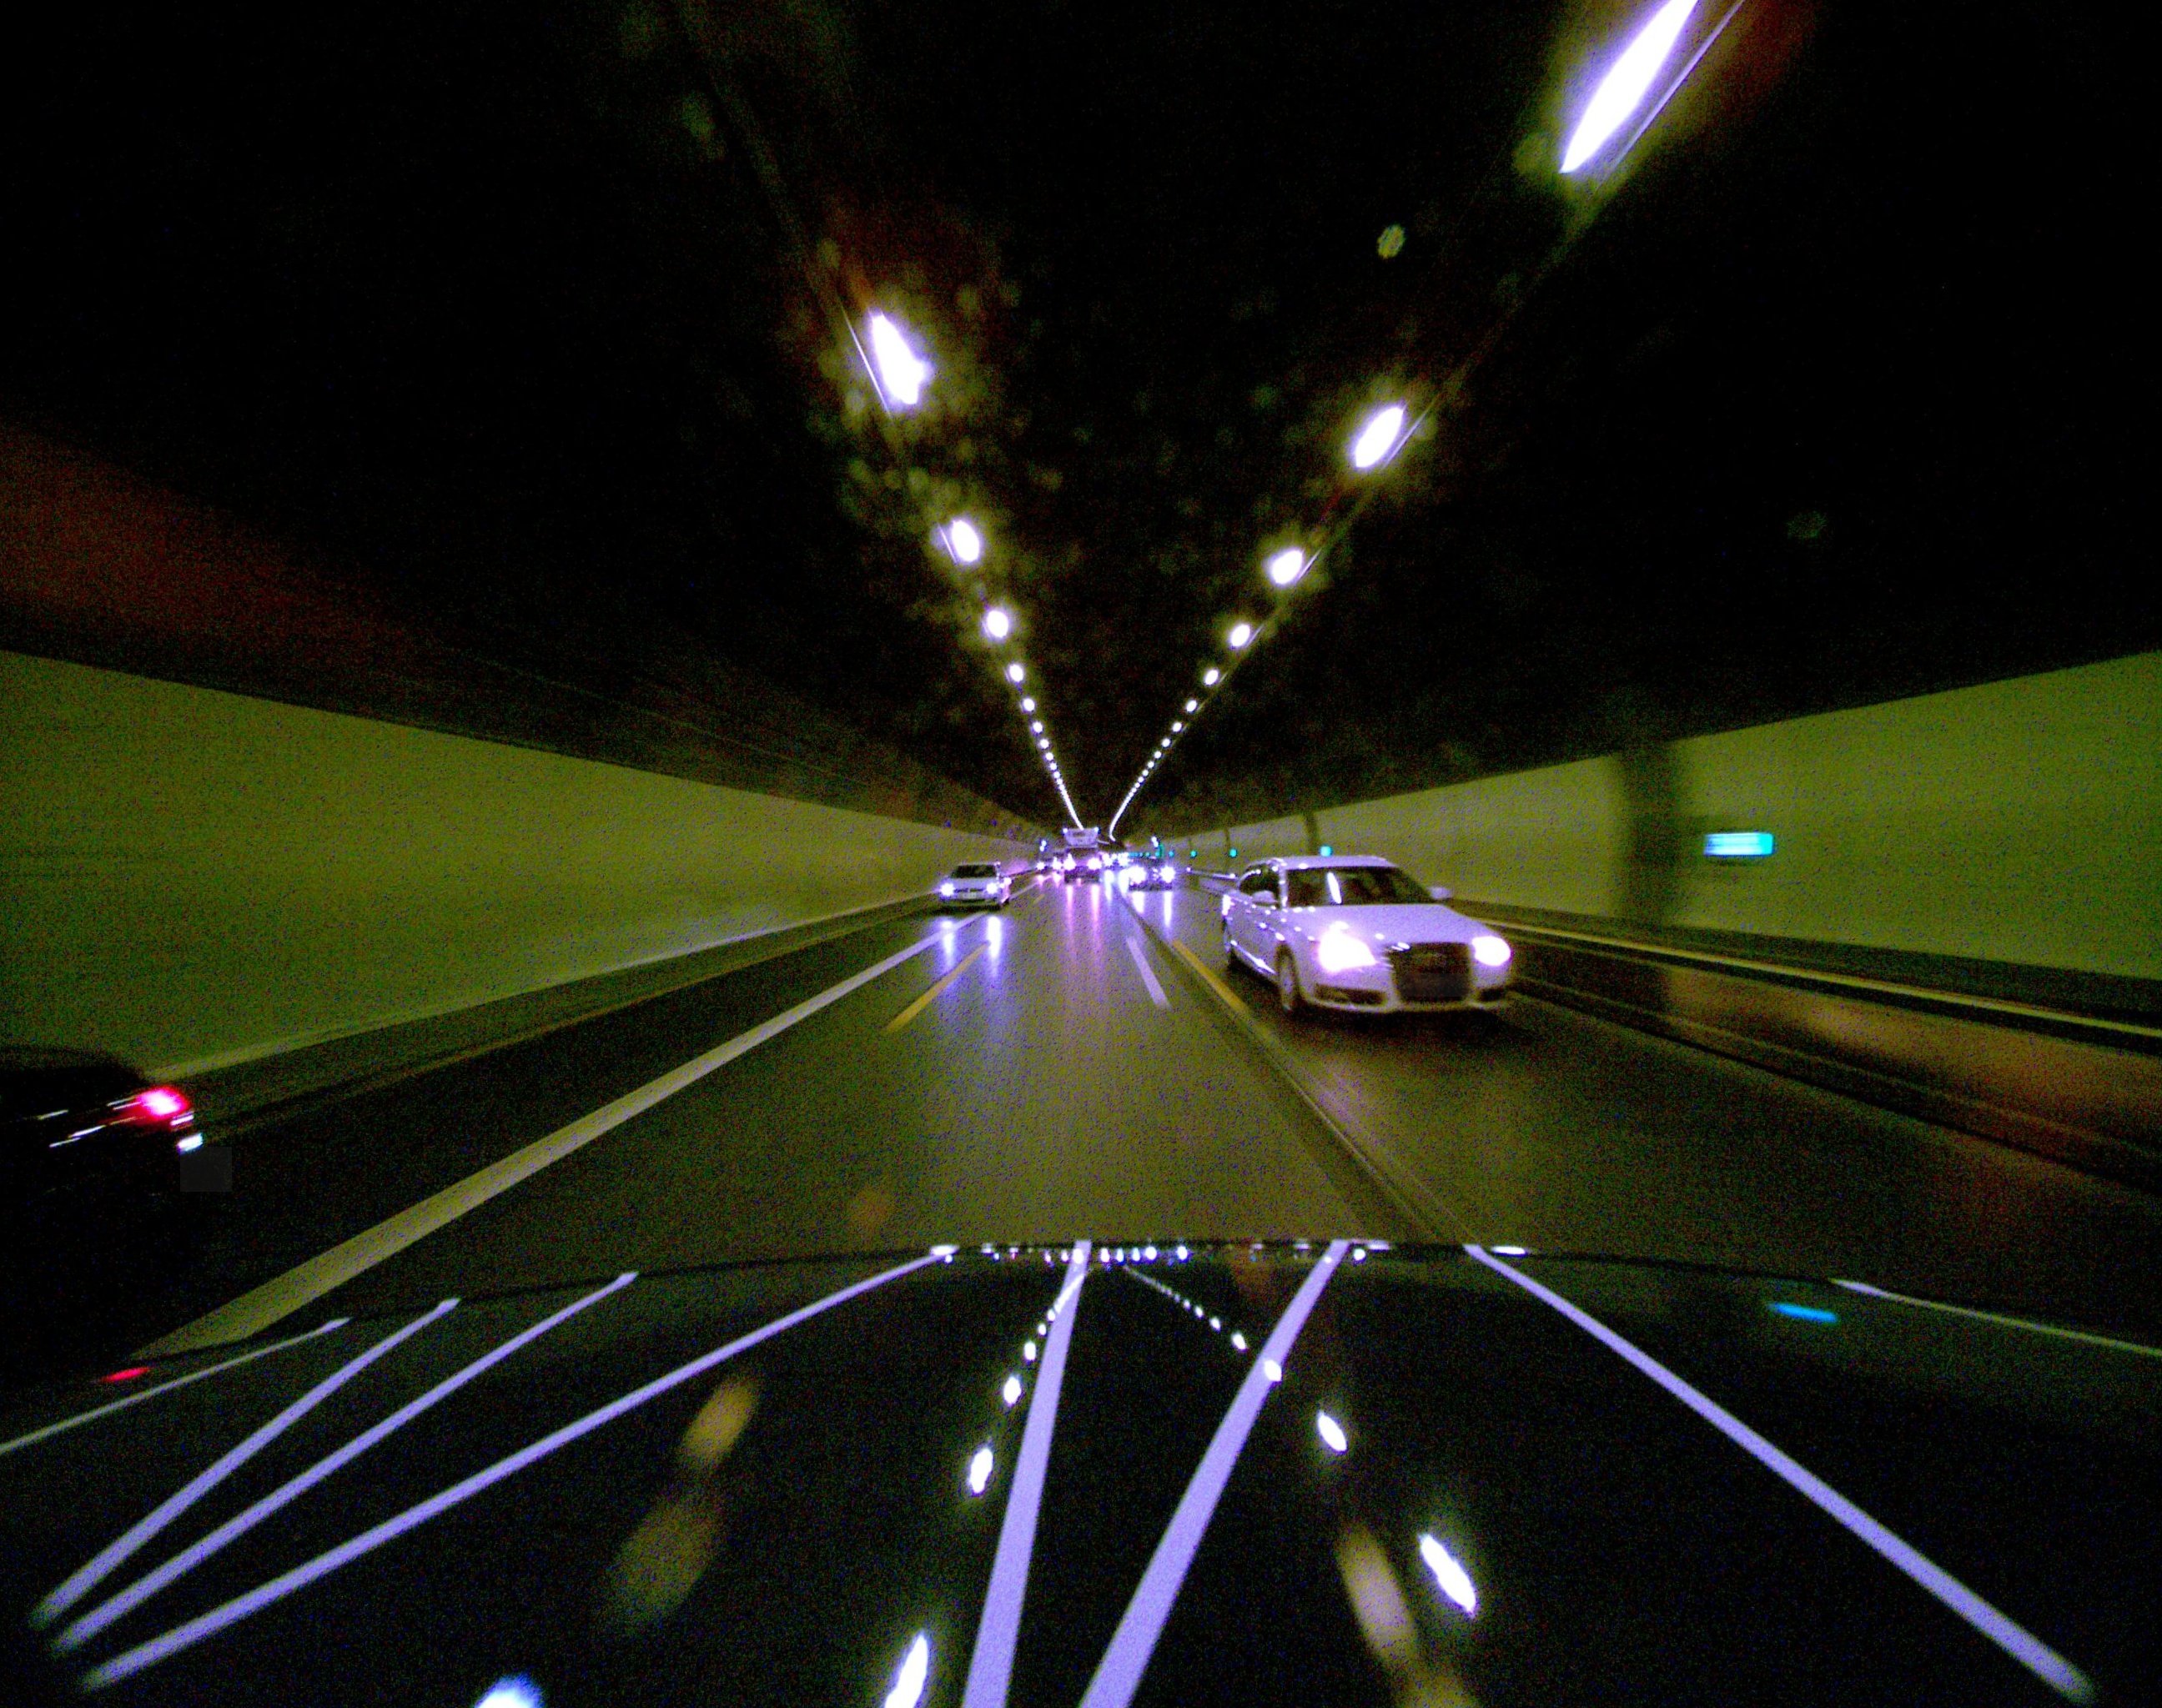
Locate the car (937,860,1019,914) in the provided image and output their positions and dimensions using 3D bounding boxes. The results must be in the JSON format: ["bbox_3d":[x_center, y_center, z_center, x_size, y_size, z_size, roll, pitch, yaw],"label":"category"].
[{"bbox_3d":[-3.103,0.955,23.653,1.801,1.452,4.035,-2,0,3],"label":"car"}]

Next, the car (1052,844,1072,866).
[{"bbox_3d":[-2.353,0.058,96.873,2.124,2.629,6.229,-3,1,1],"label":"car"}]

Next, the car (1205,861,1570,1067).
[{"bbox_3d":[2.693,0.846,8.143,1.908,1.476,4.943,-1,0,0],"label":"car"}]

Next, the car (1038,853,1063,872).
[{"bbox_3d":[-2.699,0.708,68.325,1.958,1.528,4.757,-3,1,0],"label":"car"}]

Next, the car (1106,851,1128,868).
[{"bbox_3d":[3.669,0.523,77.999,1.958,1.528,4.757,-5,1,0],"label":"car"}]

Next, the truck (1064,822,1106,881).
[{"bbox_3d":[0.272,-0.158,46.765,2.262,3.238,7.382,-2,1,1],"label":"truck"}]

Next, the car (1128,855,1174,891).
[{"bbox_3d":[3.005,0.792,33.066,1.657,1.395,3.656,-2,1,1],"label":"car"}]
